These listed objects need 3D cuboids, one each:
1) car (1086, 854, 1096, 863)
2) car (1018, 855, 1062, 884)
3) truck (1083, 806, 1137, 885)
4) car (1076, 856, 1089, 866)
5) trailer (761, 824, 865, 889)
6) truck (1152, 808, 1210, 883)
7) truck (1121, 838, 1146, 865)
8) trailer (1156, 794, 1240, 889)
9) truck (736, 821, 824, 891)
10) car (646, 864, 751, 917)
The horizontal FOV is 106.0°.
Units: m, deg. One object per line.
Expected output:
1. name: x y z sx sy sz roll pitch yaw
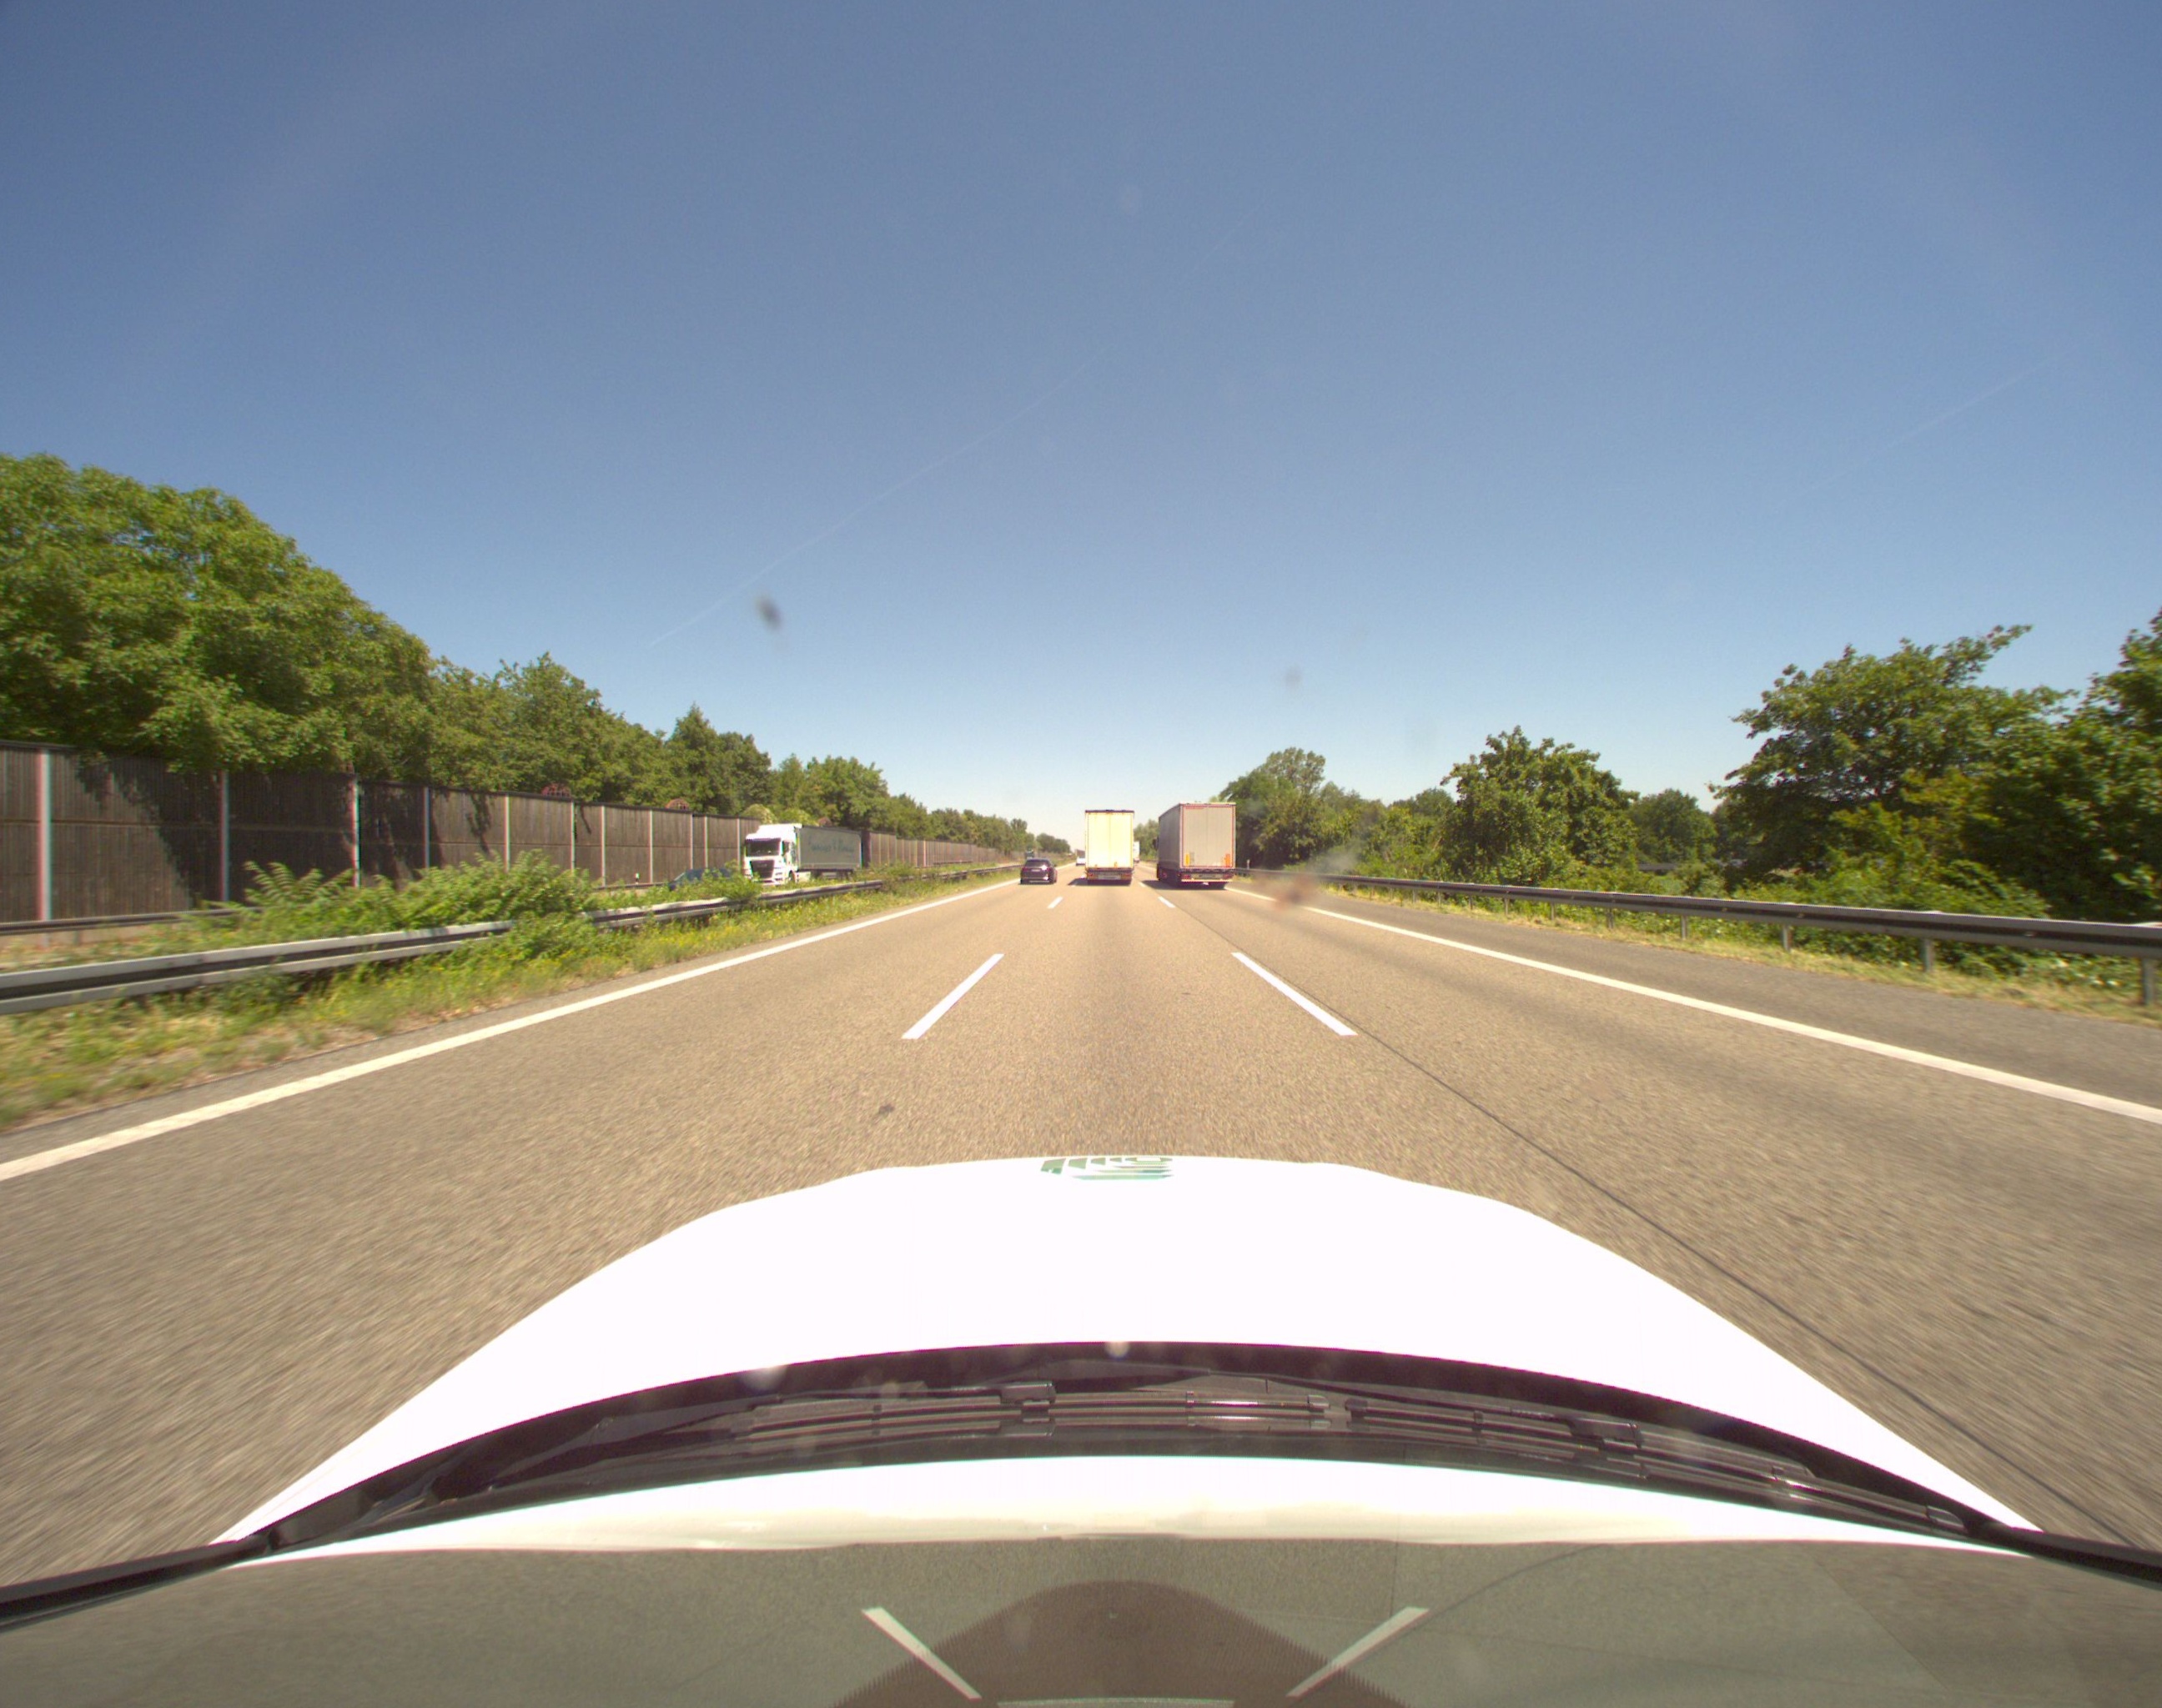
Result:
1. car: 2.004 0.924 162.775 1.849 1.617 4.000 -2 0 1
2. car: -2.307 0.851 47.268 1.936 1.506 5.825 -2 0 3
3. truck: 1.634 -0.431 49.107 2.697 4.085 13.476 -1 0 1
4. car: 0.299 1.081 123.971 1.849 1.486 4.001 -2 0 1
5. trailer: -19.303 0.185 60.012 2.899 4.183 13.314 -2 0 1
6. truck: 6.012 -0.496 50.217 2.682 4.215 7.839 -1 0 1
7. truck: 8.662 -0.443 136.674 3.363 4.303 11.447 1 0 0
8. trailer: 5.877 -0.538 43.299 2.694 4.216 13.214 -1 0 1
9. truck: -19.409 0.153 53.035 2.823 4.183 7.143 -2 0 1
10. car: -15.916 1.462 34.239 1.986 2.013 4.897 0 0 2
